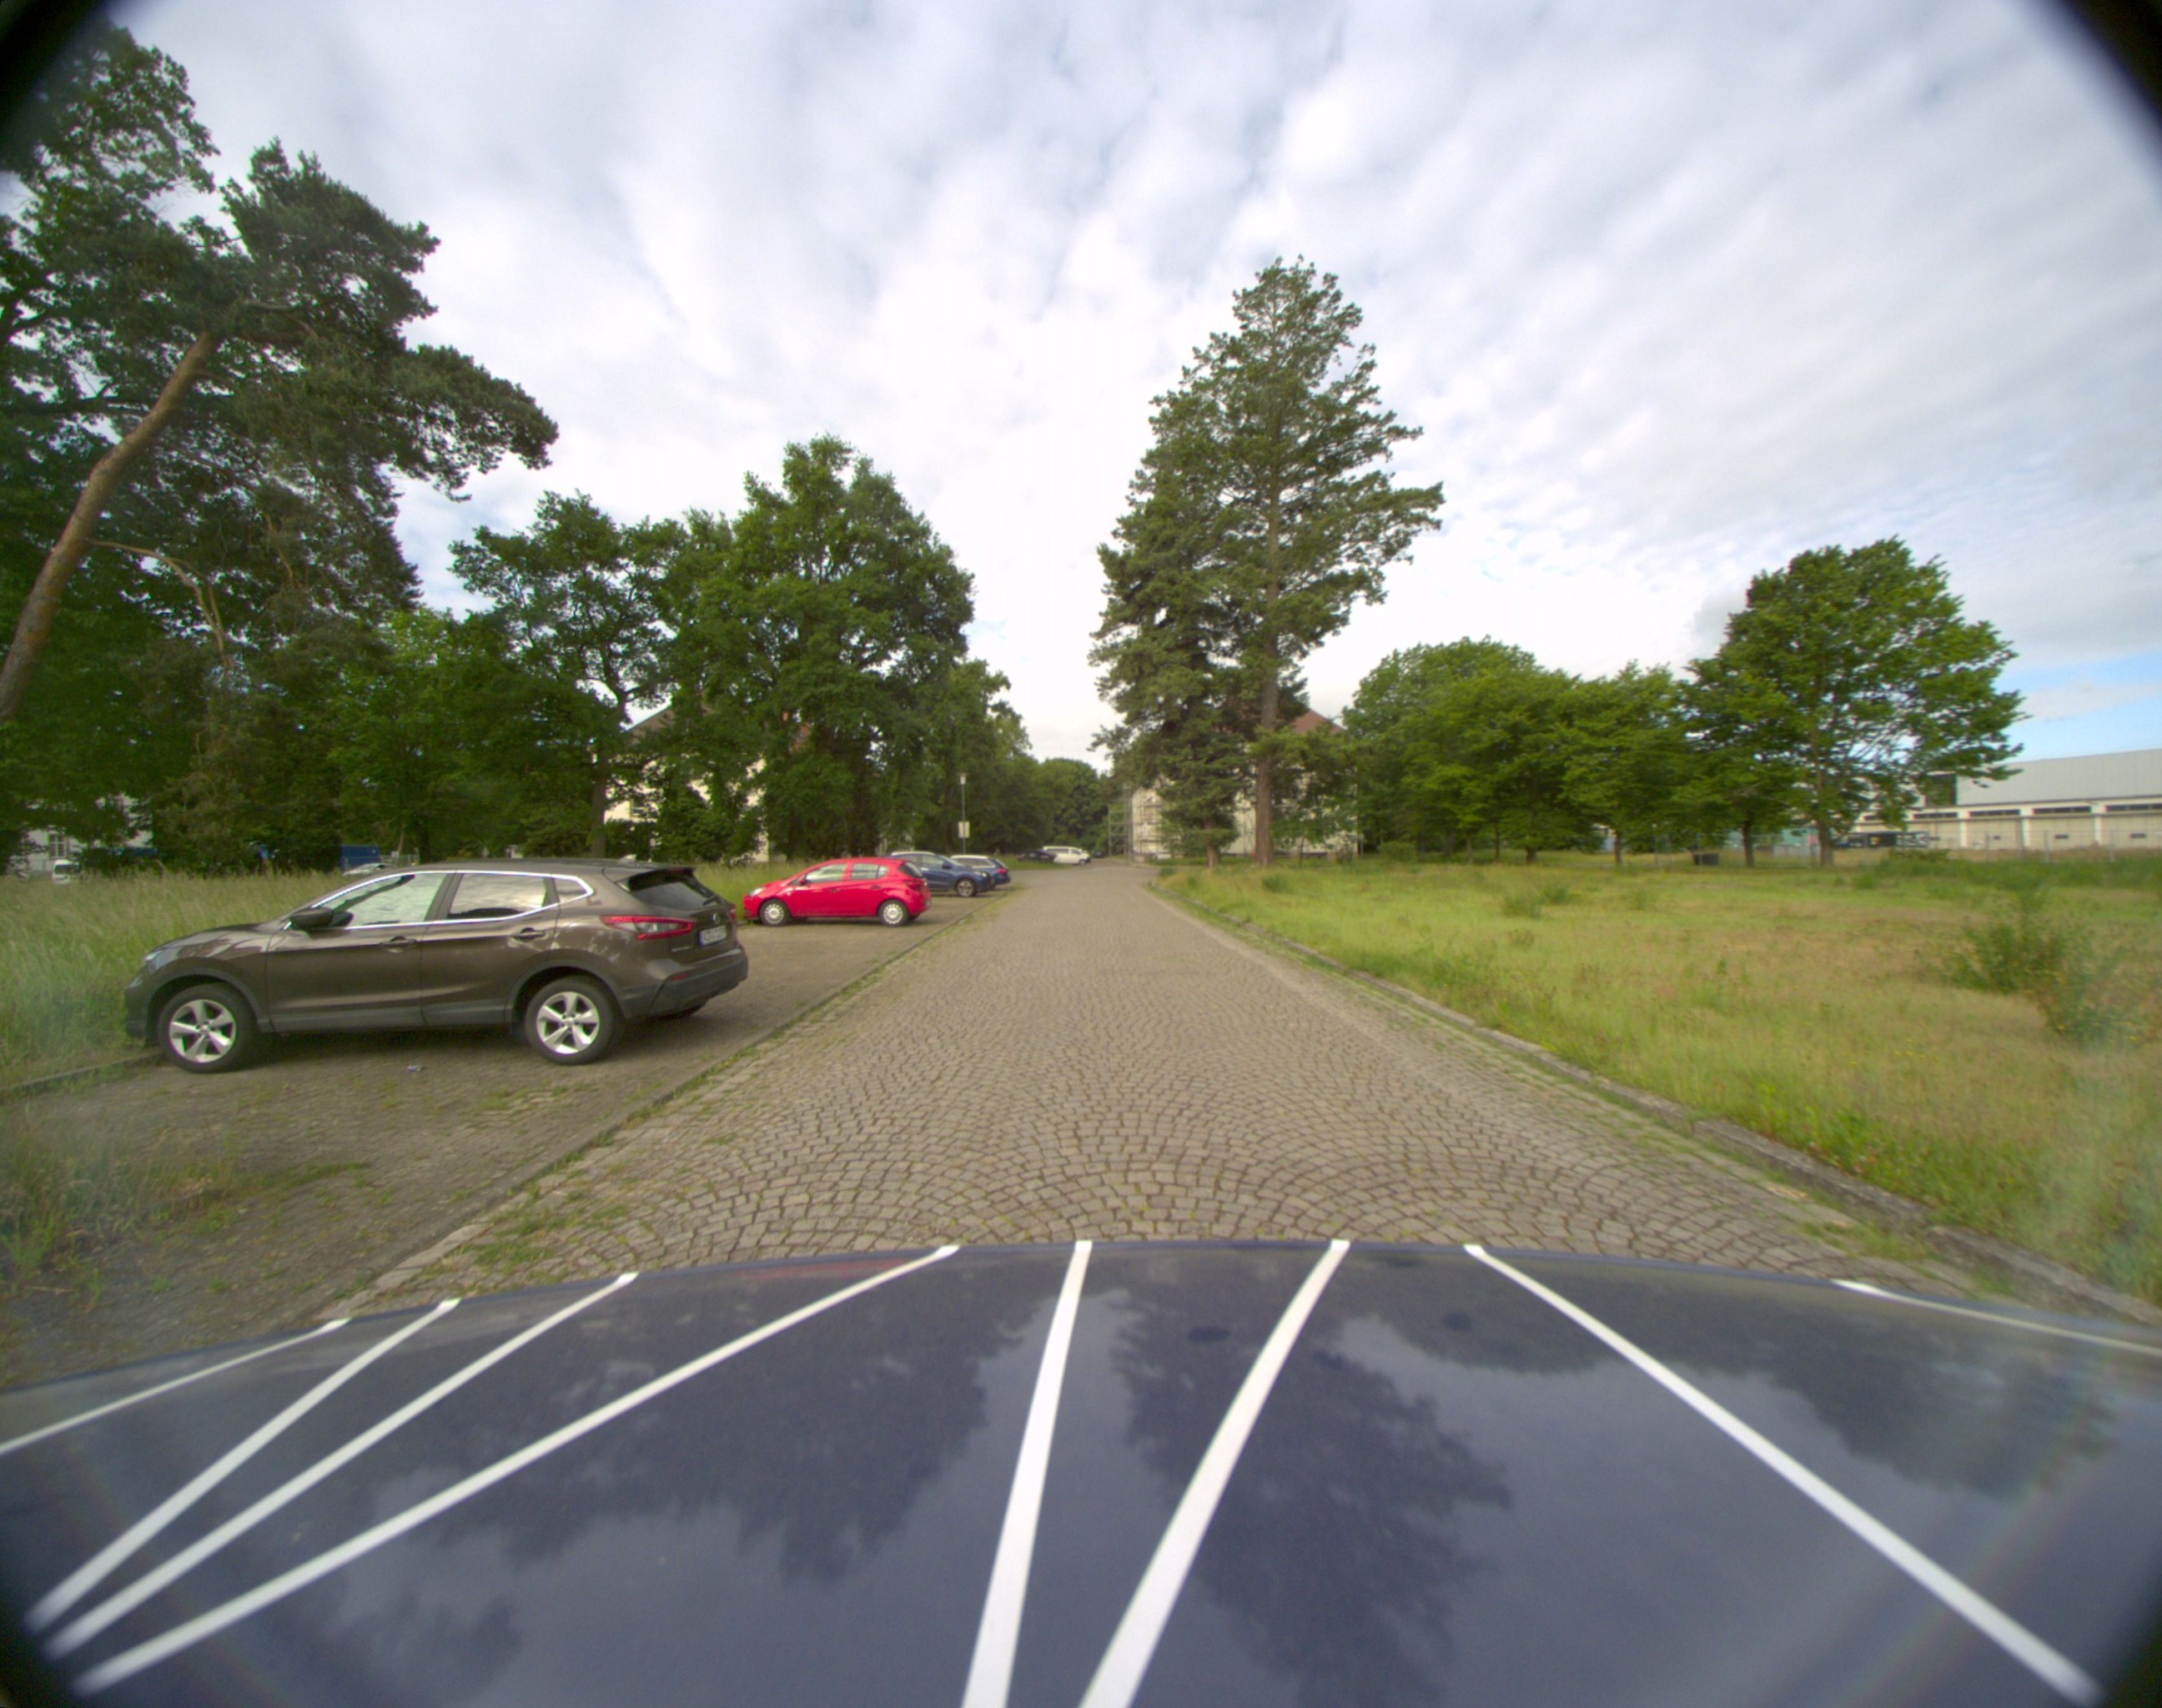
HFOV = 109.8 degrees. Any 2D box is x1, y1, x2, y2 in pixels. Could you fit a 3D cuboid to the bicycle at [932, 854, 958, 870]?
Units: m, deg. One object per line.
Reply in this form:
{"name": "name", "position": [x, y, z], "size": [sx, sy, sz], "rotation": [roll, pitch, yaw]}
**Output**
{"name": "bicycle", "position": [-11.050, 0.659, 61.858], "size": [1.942, 1.163, 0.487], "rotation": [-3, 2, -25]}

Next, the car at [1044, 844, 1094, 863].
{"name": "car", "position": [-1.262, -0.078, 80.725], "size": [5.149, 2.002, 1.999], "rotation": [0, 1, 0]}

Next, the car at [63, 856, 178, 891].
{"name": "car", "position": [-68.716, 1.356, 54.489], "size": [1.922, 2.291, 4.939], "rotation": [-1, 1, 0]}

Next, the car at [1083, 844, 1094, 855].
{"name": "car", "position": [1.356, -0.881, 146.899], "size": [1.963, 2.002, 4.259], "rotation": [0, 1, -1]}

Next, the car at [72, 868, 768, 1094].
{"name": "car", "position": [-5.222, 0.942, 6.570], "size": [4.215, 1.586, 1.952], "rotation": [0, 1, -2]}

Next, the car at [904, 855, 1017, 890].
{"name": "car", "position": [-4.996, 0.760, 31.918], "size": [4.367, 1.431, 1.926], "rotation": [0, 1, 2]}

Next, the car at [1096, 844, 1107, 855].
{"name": "car", "position": [3.892, -0.929, 147.153], "size": [1.963, 2.002, 4.259], "rotation": [0, 1, -1]}

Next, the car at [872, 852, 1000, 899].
{"name": "car", "position": [-5.094, 0.737, 27.176], "size": [4.256, 1.613, 1.886], "rotation": [0, 1, -2]}

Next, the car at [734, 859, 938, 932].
{"name": "car", "position": [-5.314, 0.869, 16.874], "size": [3.934, 1.488, 1.784], "rotation": [0, 1, -2]}
